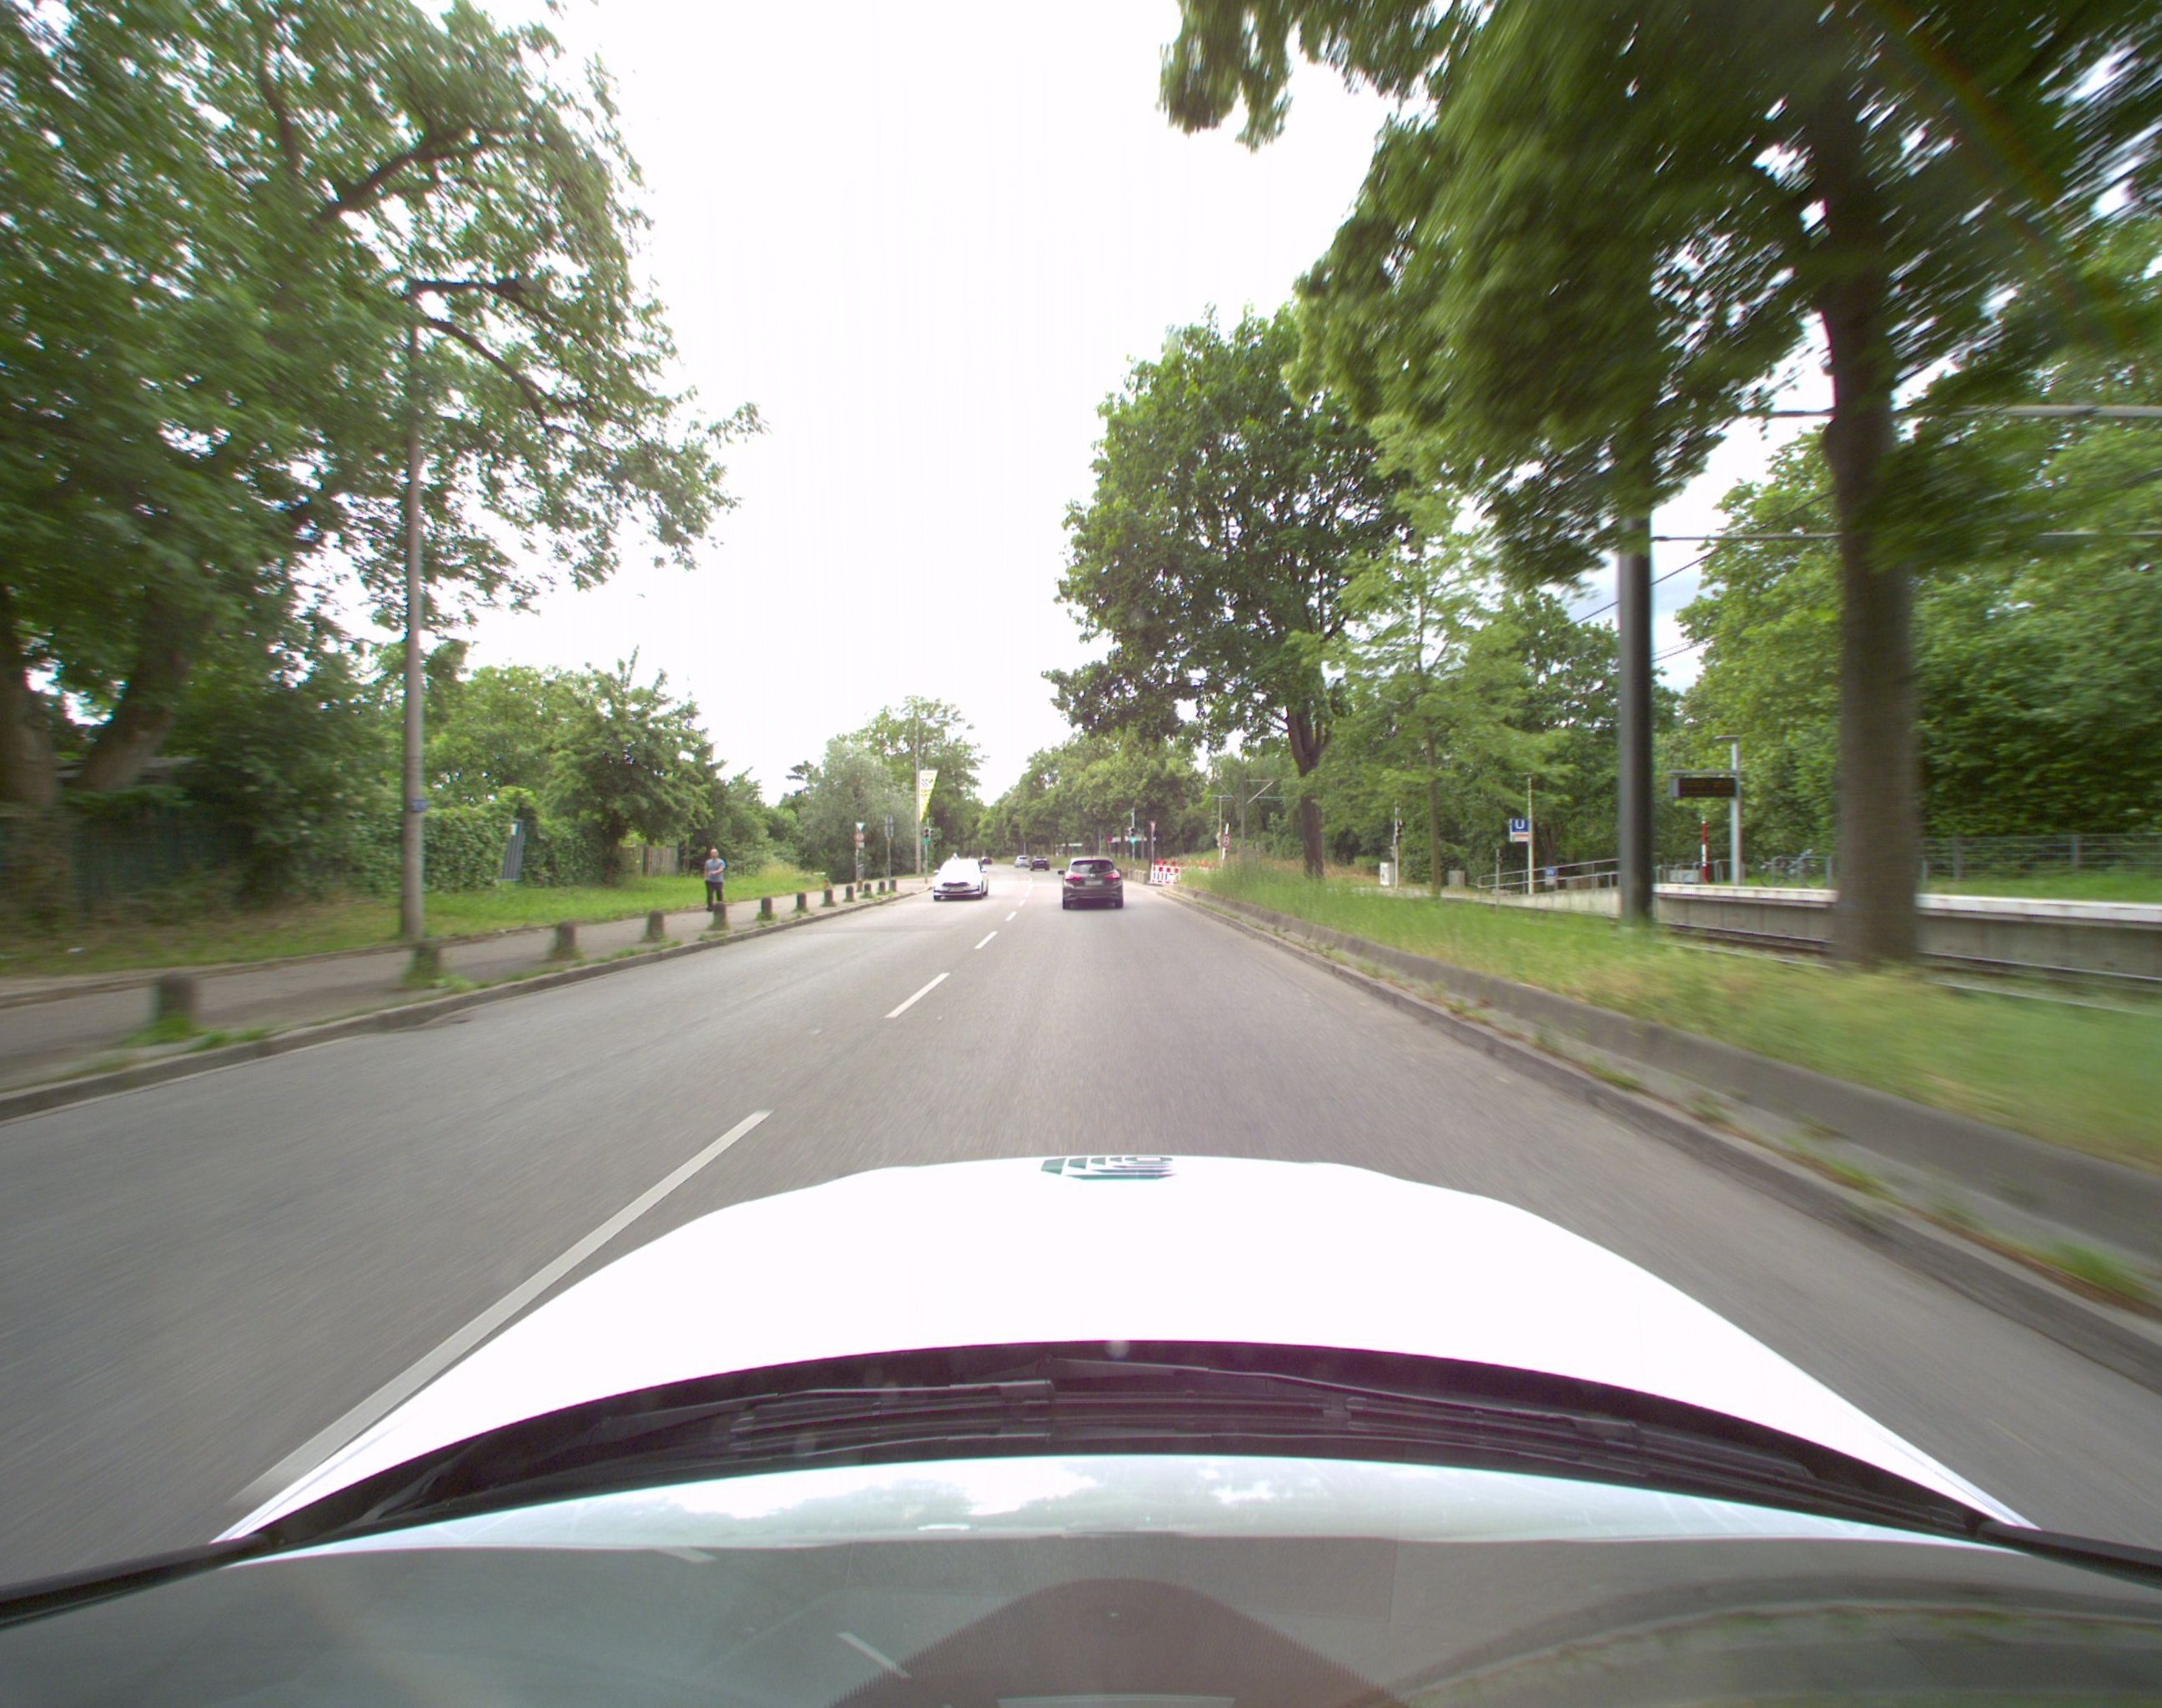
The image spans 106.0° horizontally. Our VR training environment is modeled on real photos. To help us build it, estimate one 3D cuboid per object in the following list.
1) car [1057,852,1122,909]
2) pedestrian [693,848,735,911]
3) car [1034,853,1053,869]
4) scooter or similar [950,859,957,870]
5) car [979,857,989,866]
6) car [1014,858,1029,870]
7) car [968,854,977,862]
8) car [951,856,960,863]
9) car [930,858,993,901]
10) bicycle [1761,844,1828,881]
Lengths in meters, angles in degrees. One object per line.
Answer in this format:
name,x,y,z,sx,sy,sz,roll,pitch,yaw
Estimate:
car,0.297,0.730,24.832,1.809,1.508,4.002,-1,1,2
pedestrian,-9.823,0.674,21.807,0.687,1.634,0.838,1,0,0
car,-3.763,0.697,81.156,1.772,1.472,3.996,1,0,-3
scooter or similar,-14.735,1.227,94.330,0.366,1.184,1.285,1,-1,-29
car,-17.152,1.383,144.184,1.774,1.472,3.991,3,0,-6
car,-7.749,1.340,105.744,1.774,1.472,3.991,1,0,-7
car,-21.395,0.801,160.528,1.774,1.472,3.991,0,0,-7
car,-27.856,1.267,181.049,1.776,1.472,3.987,1,0,-10
car,-4.480,0.910,31.072,1.768,1.439,4.359,-2,0,-1
bicycle,19.877,0.228,22.683,1.505,0.973,0.450,1,0,-3
